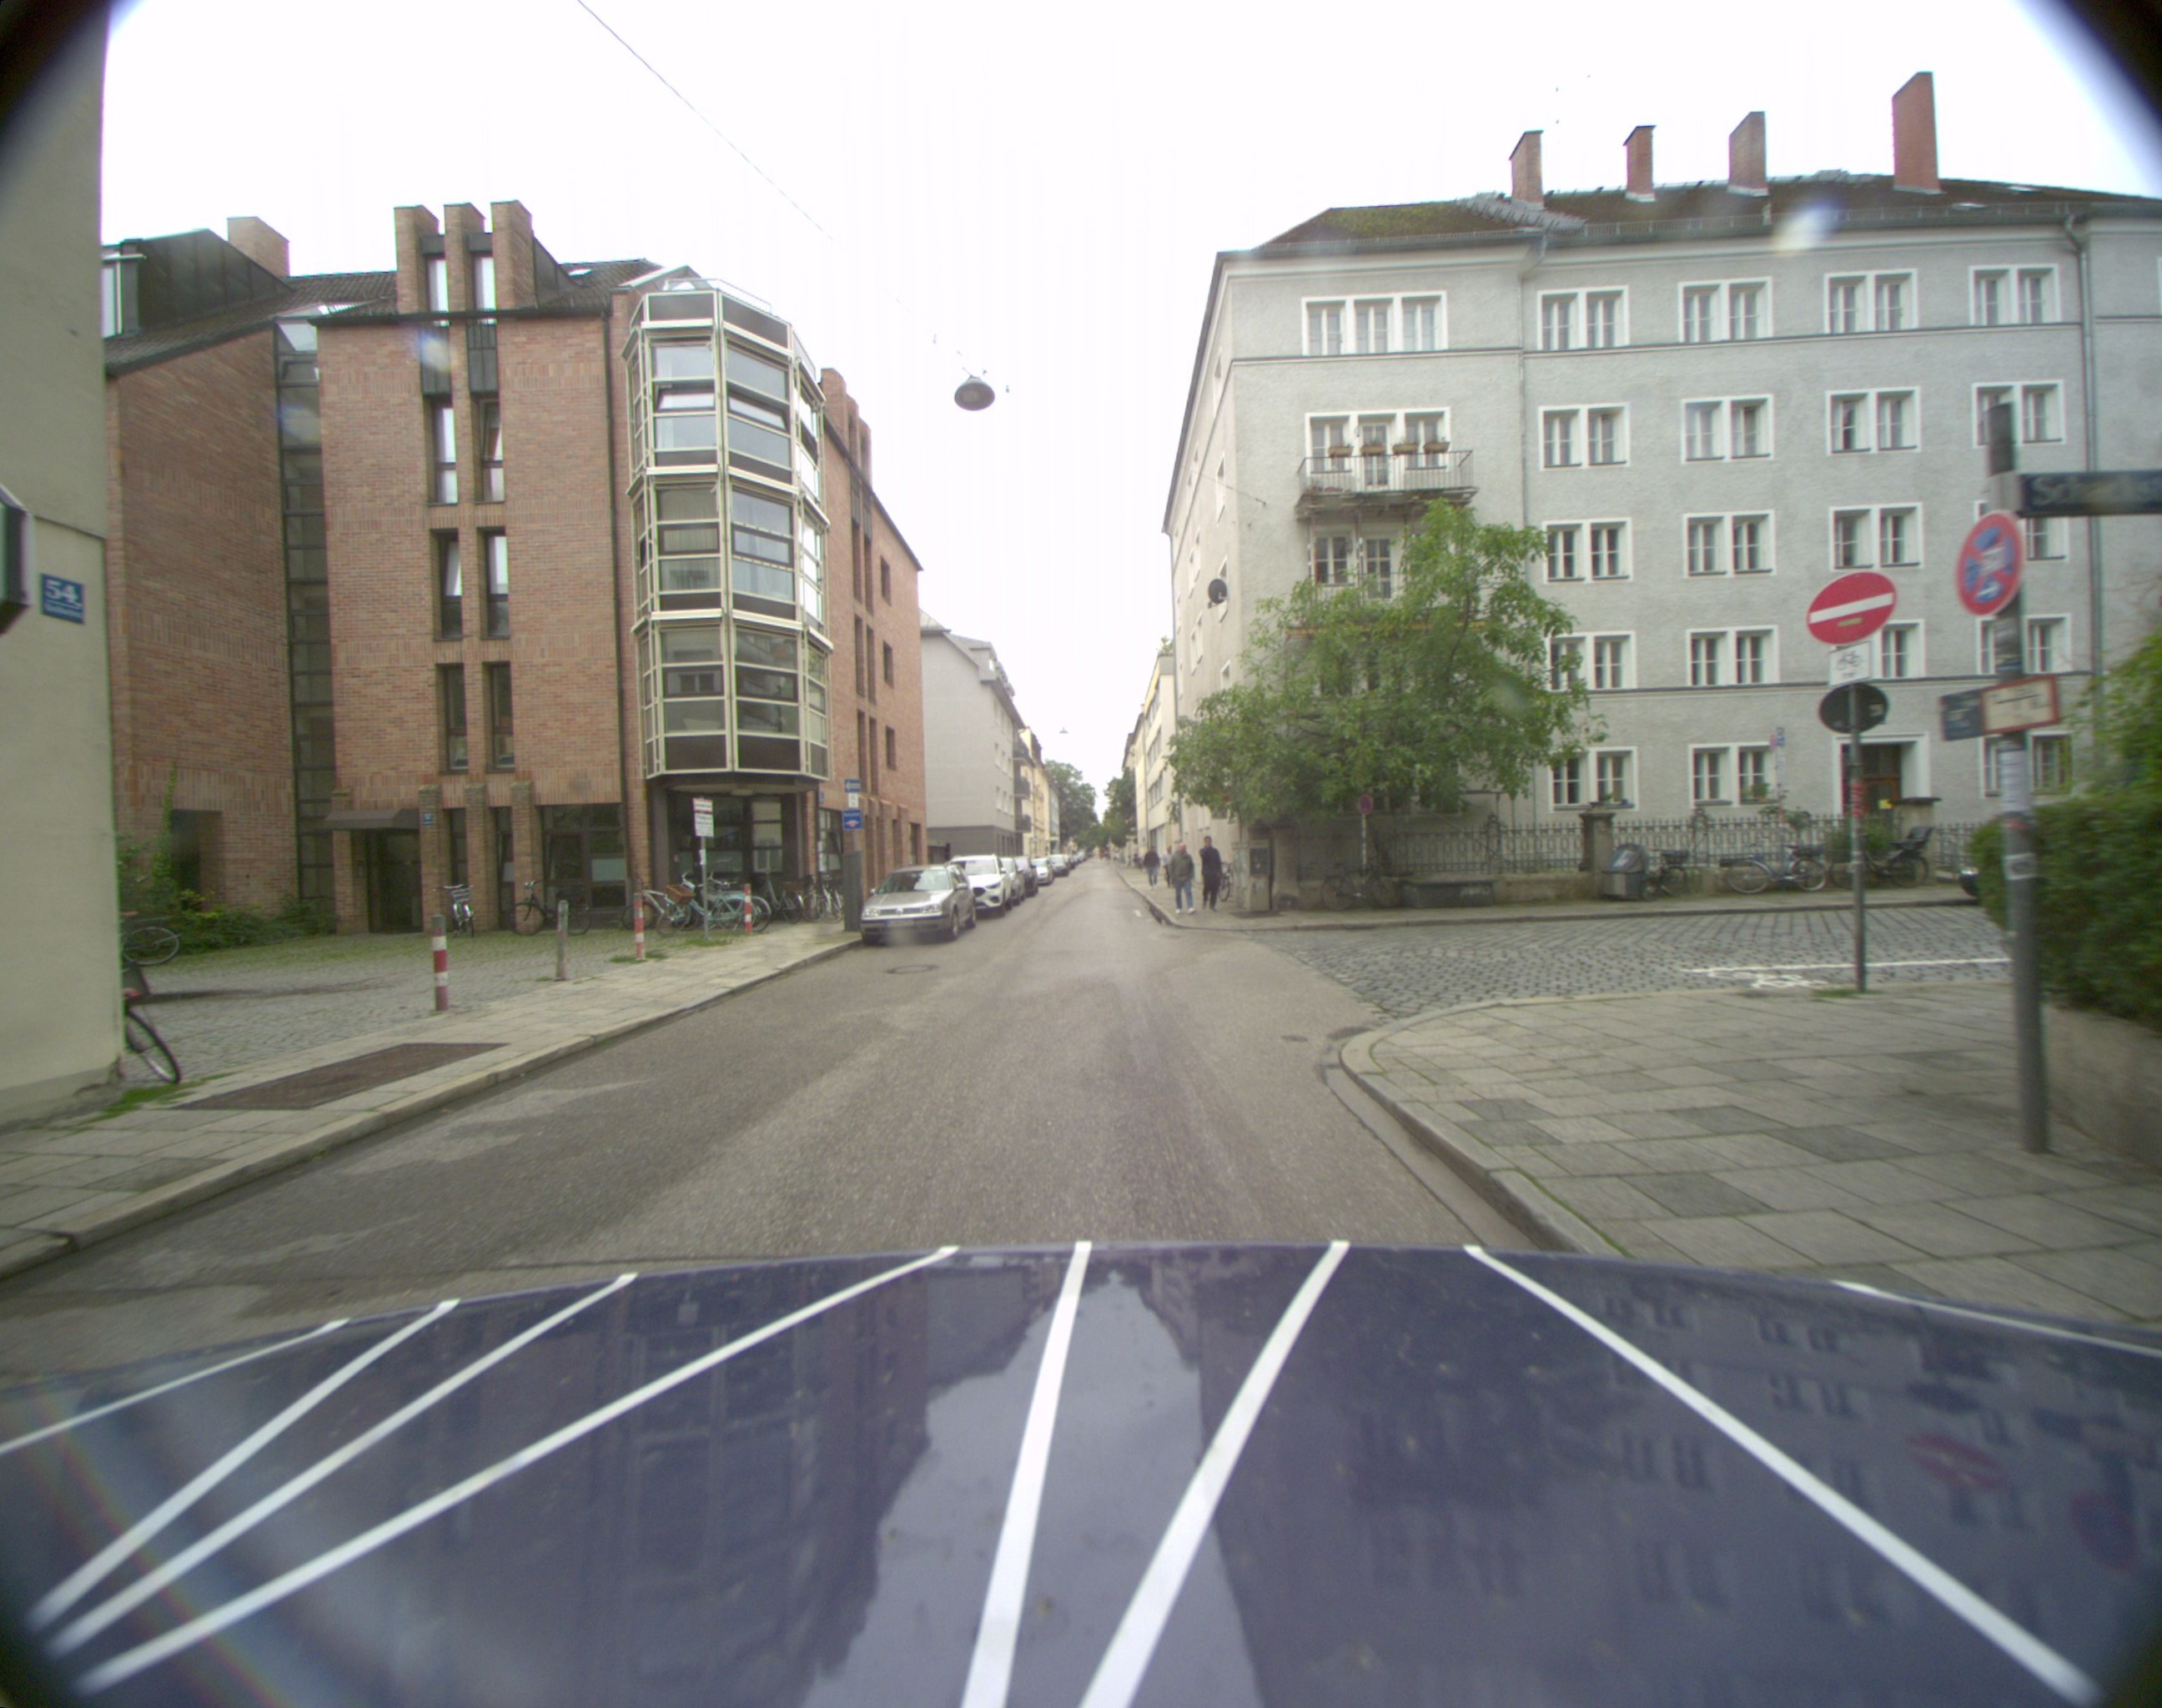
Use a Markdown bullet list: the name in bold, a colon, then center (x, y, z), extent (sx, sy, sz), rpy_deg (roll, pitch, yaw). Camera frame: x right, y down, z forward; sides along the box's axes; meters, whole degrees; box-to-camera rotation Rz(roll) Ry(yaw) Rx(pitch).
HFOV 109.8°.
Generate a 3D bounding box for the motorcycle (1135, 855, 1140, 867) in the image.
- **motorcycle**: center (5.016, 0.604, 67.287), extent (0.324, 0.968, 1.961), rpy_deg (-3, 0, 2)

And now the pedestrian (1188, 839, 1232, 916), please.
- **pedestrian**: center (3.044, 0.546, 17.965), extent (0.692, 1.753, 0.741), rpy_deg (-5, 1, -9)

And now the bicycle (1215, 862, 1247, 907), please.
- **bicycle**: center (3.934, 0.785, 20.009), extent (0.432, 1.088, 1.703), rpy_deg (-4, 0, 0)

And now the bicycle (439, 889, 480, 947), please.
- **bicycle**: center (-12.393, 1.257, 15.133), extent (1.422, 1.066, 0.443), rpy_deg (-1, 1, 44)

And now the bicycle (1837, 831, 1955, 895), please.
- **bicycle**: center (16.823, 0.184, 15.702), extent (1.852, 1.266, 0.412), rpy_deg (-2, 1, 5)

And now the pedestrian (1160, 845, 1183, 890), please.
- **pedestrian**: center (3.677, 0.531, 30.834), extent (0.695, 1.718, 0.841), rpy_deg (-6, 1, 2)

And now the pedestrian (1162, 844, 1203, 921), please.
- **pedestrian**: center (2.326, 0.640, 17.507), extent (0.691, 1.668, 0.859), rpy_deg (-4, 1, 0)

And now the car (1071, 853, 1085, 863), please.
- **car**: center (-0.392, 0.531, 101.011), extent (1.556, 1.280, 3.538), rpy_deg (-3, 0, 2)

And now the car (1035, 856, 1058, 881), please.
- **car**: center (-2.053, 0.871, 45.798), extent (1.154, 1.367, 2.685), rpy_deg (-3, 0, 2)

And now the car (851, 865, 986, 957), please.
- **car**: center (-3.091, 1.015, 15.360), extent (1.725, 1.427, 4.358), rpy_deg (-3, 0, 0)

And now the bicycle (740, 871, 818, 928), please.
- **bicycle**: center (-6.879, 1.006, 17.287), extent (1.872, 1.222, 0.594), rpy_deg (-1, 2, 31)

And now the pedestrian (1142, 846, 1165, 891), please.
- **pedestrian**: center (2.950, 0.584, 30.867), extent (0.721, 1.718, 0.841), rpy_deg (-6, 1, 2)

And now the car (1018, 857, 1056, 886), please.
- **car**: center (-2.279, 0.883, 40.497), extent (1.619, 1.369, 3.817), rpy_deg (-3, 0, 2)

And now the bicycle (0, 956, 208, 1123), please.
- **bicycle**: center (-7.052, 1.251, 5.178), extent (1.705, 1.021, 0.411), rpy_deg (-1, 2, 1)

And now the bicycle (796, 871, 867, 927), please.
- **bicycle**: center (-6.022, 1.061, 18.435), extent (0.741, 1.210, 1.782), rpy_deg (-1, 1, 16)

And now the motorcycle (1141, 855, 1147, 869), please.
- **motorcycle**: center (4.757, 0.598, 57.693), extent (0.324, 0.968, 1.961), rpy_deg (-3, 0, 2)

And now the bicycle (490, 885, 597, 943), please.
- **bicycle**: center (-10.522, 1.178, 14.884), extent (1.884, 1.066, 0.443), rpy_deg (-1, 1, 7)

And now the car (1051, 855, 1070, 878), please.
- **car**: center (-1.351, 0.799, 50.956), extent (1.043, 1.429, 2.251), rpy_deg (-3, 0, 2)

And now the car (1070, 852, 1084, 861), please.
- **car**: center (-0.589, 0.452, 119.093), extent (1.998, 1.259, 4.000), rpy_deg (-3, 0, 2)

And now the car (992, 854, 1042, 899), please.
- **car**: center (-2.515, 0.841, 30.625), extent (1.619, 1.570, 4.051), rpy_deg (-3, 0, 0)

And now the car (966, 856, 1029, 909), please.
- **car**: center (-2.699, 0.881, 25.352), extent (1.619, 1.548, 3.807), rpy_deg (-3, 0, 0)

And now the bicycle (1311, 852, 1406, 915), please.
- **bicycle**: center (5.842, 0.618, 16.043), extent (1.811, 1.253, 0.432), rpy_deg (-2, 1, 0)

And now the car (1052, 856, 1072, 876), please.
- **car**: center (-1.374, 0.824, 54.845), extent (1.190, 1.312, 2.780), rpy_deg (-3, 0, 2)

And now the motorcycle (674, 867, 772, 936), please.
- **motorcycle**: center (-7.472, 0.978, 15.898), extent (1.765, 1.376, 0.552), rpy_deg (0, 1, -4)

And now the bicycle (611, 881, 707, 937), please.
- **bicycle**: center (-8.558, 1.111, 15.431), extent (1.752, 1.066, 0.443), rpy_deg (-1, 1, 7)

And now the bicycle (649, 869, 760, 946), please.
- **bicycle**: center (-7.120, 0.980, 14.467), extent (1.807, 1.315, 0.586), rpy_deg (-2, 2, -24)

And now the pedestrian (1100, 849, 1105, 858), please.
- **pedestrian**: center (4.532, -0.113, 160.134), extent (0.696, 1.834, 0.692), rpy_deg (-3, 1, 20)

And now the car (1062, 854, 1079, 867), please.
- **car**: center (-1.111, 0.630, 80.370), extent (1.525, 1.259, 3.210), rpy_deg (-3, 0, 2)

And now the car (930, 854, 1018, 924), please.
- **car**: center (-2.808, 0.861, 20.922), extent (1.725, 1.606, 4.454), rpy_deg (-3, 0, 0)

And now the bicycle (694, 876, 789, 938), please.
- **bicycle**: center (-6.781, 1.041, 15.175), extent (1.752, 1.180, 0.443), rpy_deg (0, 1, 7)

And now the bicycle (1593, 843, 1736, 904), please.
- **bicycle**: center (11.991, 0.378, 15.641), extent (2.488, 1.149, 0.991), rpy_deg (-2, 1, -14)

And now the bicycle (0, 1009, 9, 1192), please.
- **bicycle**: center (-5.868, 1.182, 3.070), extent (0.411, 1.207, 1.819), rpy_deg (0, 2, 2)

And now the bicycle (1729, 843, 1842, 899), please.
- **bicycle**: center (14.660, 0.347, 15.837), extent (1.852, 1.097, 0.412), rpy_deg (-2, 1, 5)

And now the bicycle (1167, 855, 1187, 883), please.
- **bicycle**: center (4.318, 0.668, 34.264), extent (0.450, 1.187, 1.498), rpy_deg (-3, 1, -8)
